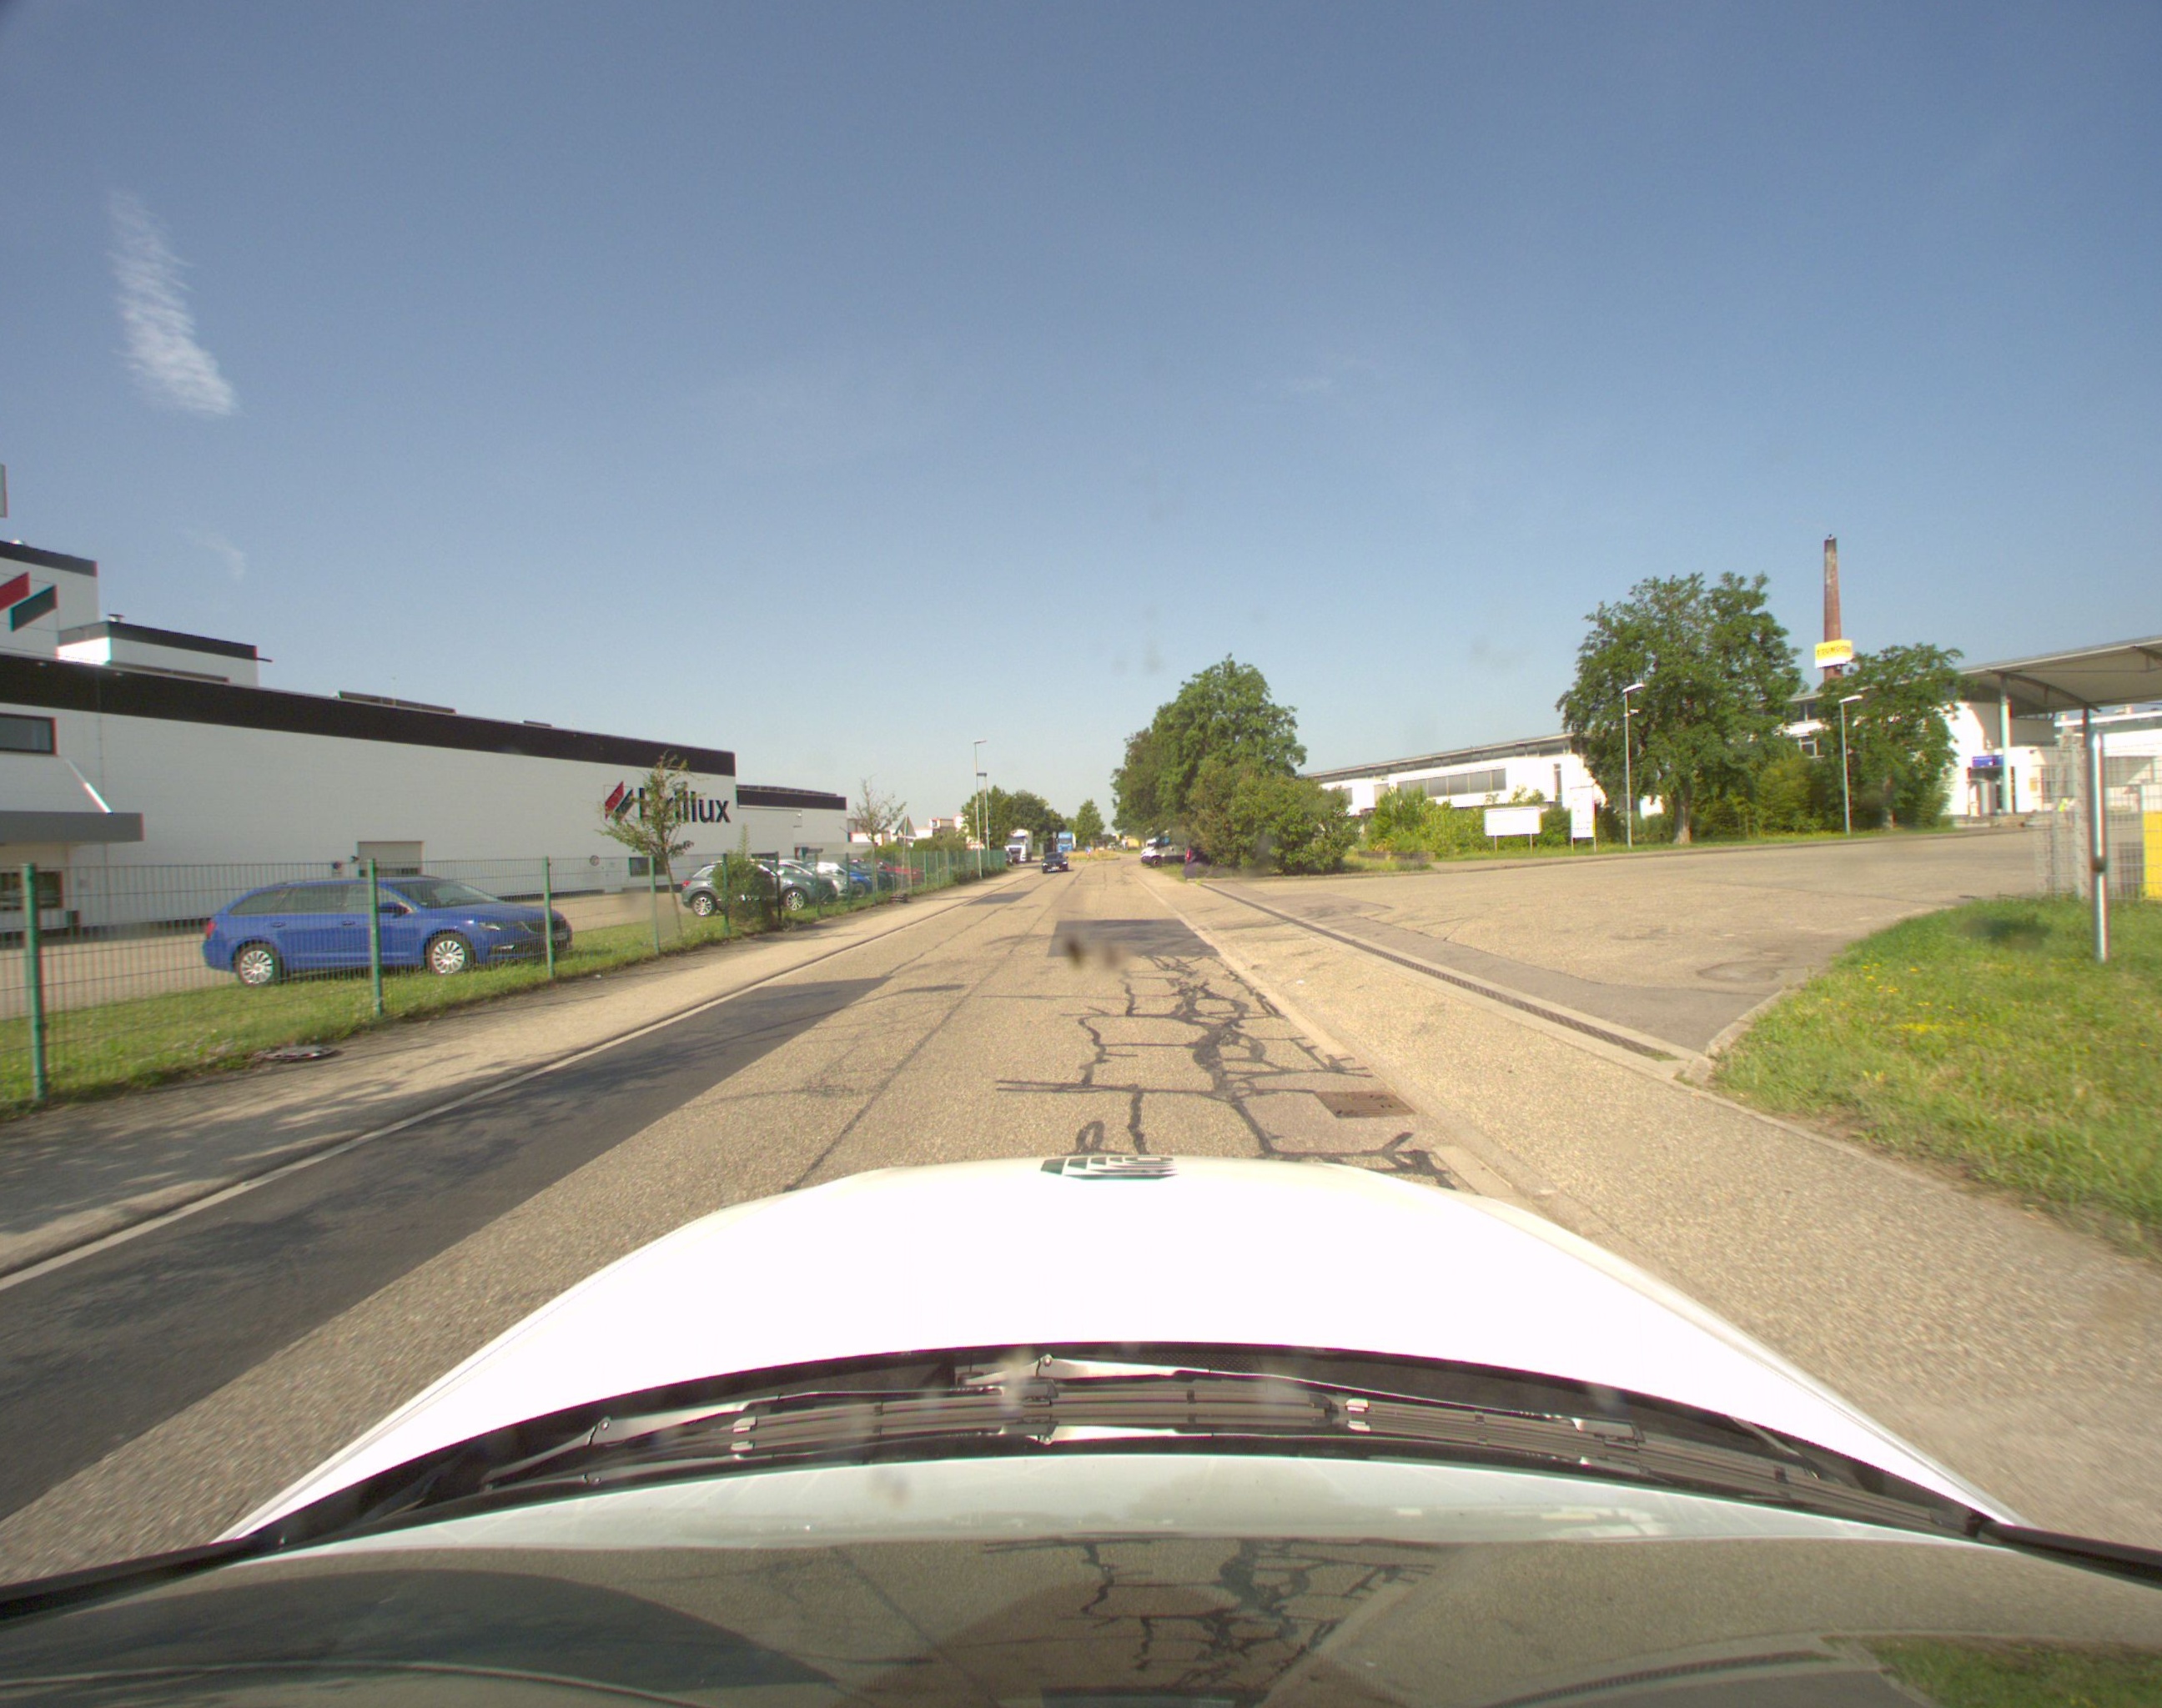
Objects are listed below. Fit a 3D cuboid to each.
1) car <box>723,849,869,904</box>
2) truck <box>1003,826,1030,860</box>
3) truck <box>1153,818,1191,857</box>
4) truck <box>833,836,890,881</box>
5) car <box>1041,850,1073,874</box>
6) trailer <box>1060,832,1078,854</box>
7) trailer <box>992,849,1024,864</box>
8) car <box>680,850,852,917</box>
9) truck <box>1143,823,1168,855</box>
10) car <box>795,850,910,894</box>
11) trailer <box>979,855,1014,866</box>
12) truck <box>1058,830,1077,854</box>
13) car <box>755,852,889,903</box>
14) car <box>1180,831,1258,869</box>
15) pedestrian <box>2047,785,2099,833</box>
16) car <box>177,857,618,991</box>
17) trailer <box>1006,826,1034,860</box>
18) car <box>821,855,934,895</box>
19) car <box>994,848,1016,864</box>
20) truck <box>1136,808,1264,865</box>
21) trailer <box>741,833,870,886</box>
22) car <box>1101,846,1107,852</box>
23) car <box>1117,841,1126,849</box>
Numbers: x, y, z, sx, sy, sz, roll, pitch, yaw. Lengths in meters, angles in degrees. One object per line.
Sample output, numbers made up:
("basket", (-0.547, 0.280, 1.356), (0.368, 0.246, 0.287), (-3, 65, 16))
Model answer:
("car", (-9.318, 0.718, 26.891), (4.027, 1.444, 1.874), (-4, 0, 0))
("truck", (-7.486, -1.256, 95.365), (2.699, 3.922, 4.297), (-1, -1, 1))
("truck", (9.335, -1.614, 84.840), (2.877, 3.535, 9.760), (-6, 0, 2))
("truck", (-20.383, 0.426, 75.871), (2.493, 4.071, 5.567), (-1, -1, 16))
("car", (-1.653, 0.560, 57.690), (1.987, 1.449, 4.419), (-5, 0, 0))
("trailer", (-2.128, -1.924, 149.382), (2.821, 3.843, 12.038), (-1, 0, 1))
("trailer", (-7.917, 0.296, 88.808), (2.670, 1.453, 5.081), (-2, 1, 3))
("car", (-9.034, 0.818, 23.602), (4.113, 1.567, 1.865), (-4, 0, 0))
("truck", (9.938, -2.006, 108.789), (2.736, 3.981, 4.002), (-5, 0, 2))
("car", (-9.208, 0.708, 33.058), (4.027, 1.444, 1.874), (-4, 0, 0))
("trailer", (-7.811, 0.587, 75.905), (2.538, 0.925, 6.710), (1, 1, 0))
("truck", (-2.314, -2.050, 139.827), (2.815, 3.825, 9.674), (-1, 0, 1))
("car", (-9.127, 0.800, 28.953), (4.027, 1.444, 1.874), (-4, 0, 0))
("car", (7.571, -0.226, 44.888), (3.971, 1.837, 2.001), (-3, 0, 2))
("pedestrian", (44.178, -1.991, 36.292), (0.970, 2.014, 1.167), (-1, -1, 21))
("car", (-9.841, 0.947, 12.063), (4.670, 1.444, 2.078), (-4, 0, 0))
("trailer", (-7.410, -1.236, 99.695), (2.690, 3.922, 7.576), (-1, 0, 1))
("car", (-9.191, 0.930, 37.108), (4.521, 1.444, 1.952), (-4, 0, 0))
("car", (-7.721, 0.220, 82.707), (1.689, 1.561, 4.337), (0, 1, 2))
("truck", (8.030, -1.151, 55.525), (8.181, 3.370, 2.741), (-3, -1, 0))
("trailer", (-22.652, 0.451, 68.429), (2.462, 4.041, 13.951), (-1, 0, 17))
("car", (7.179, -1.591, 252.236), (1.713, 1.660, 3.822), (-1, 0, 0))
("car", (8.973, -1.938, 180.293), (1.786, 1.750, 4.000), (-1, 0, 1))
